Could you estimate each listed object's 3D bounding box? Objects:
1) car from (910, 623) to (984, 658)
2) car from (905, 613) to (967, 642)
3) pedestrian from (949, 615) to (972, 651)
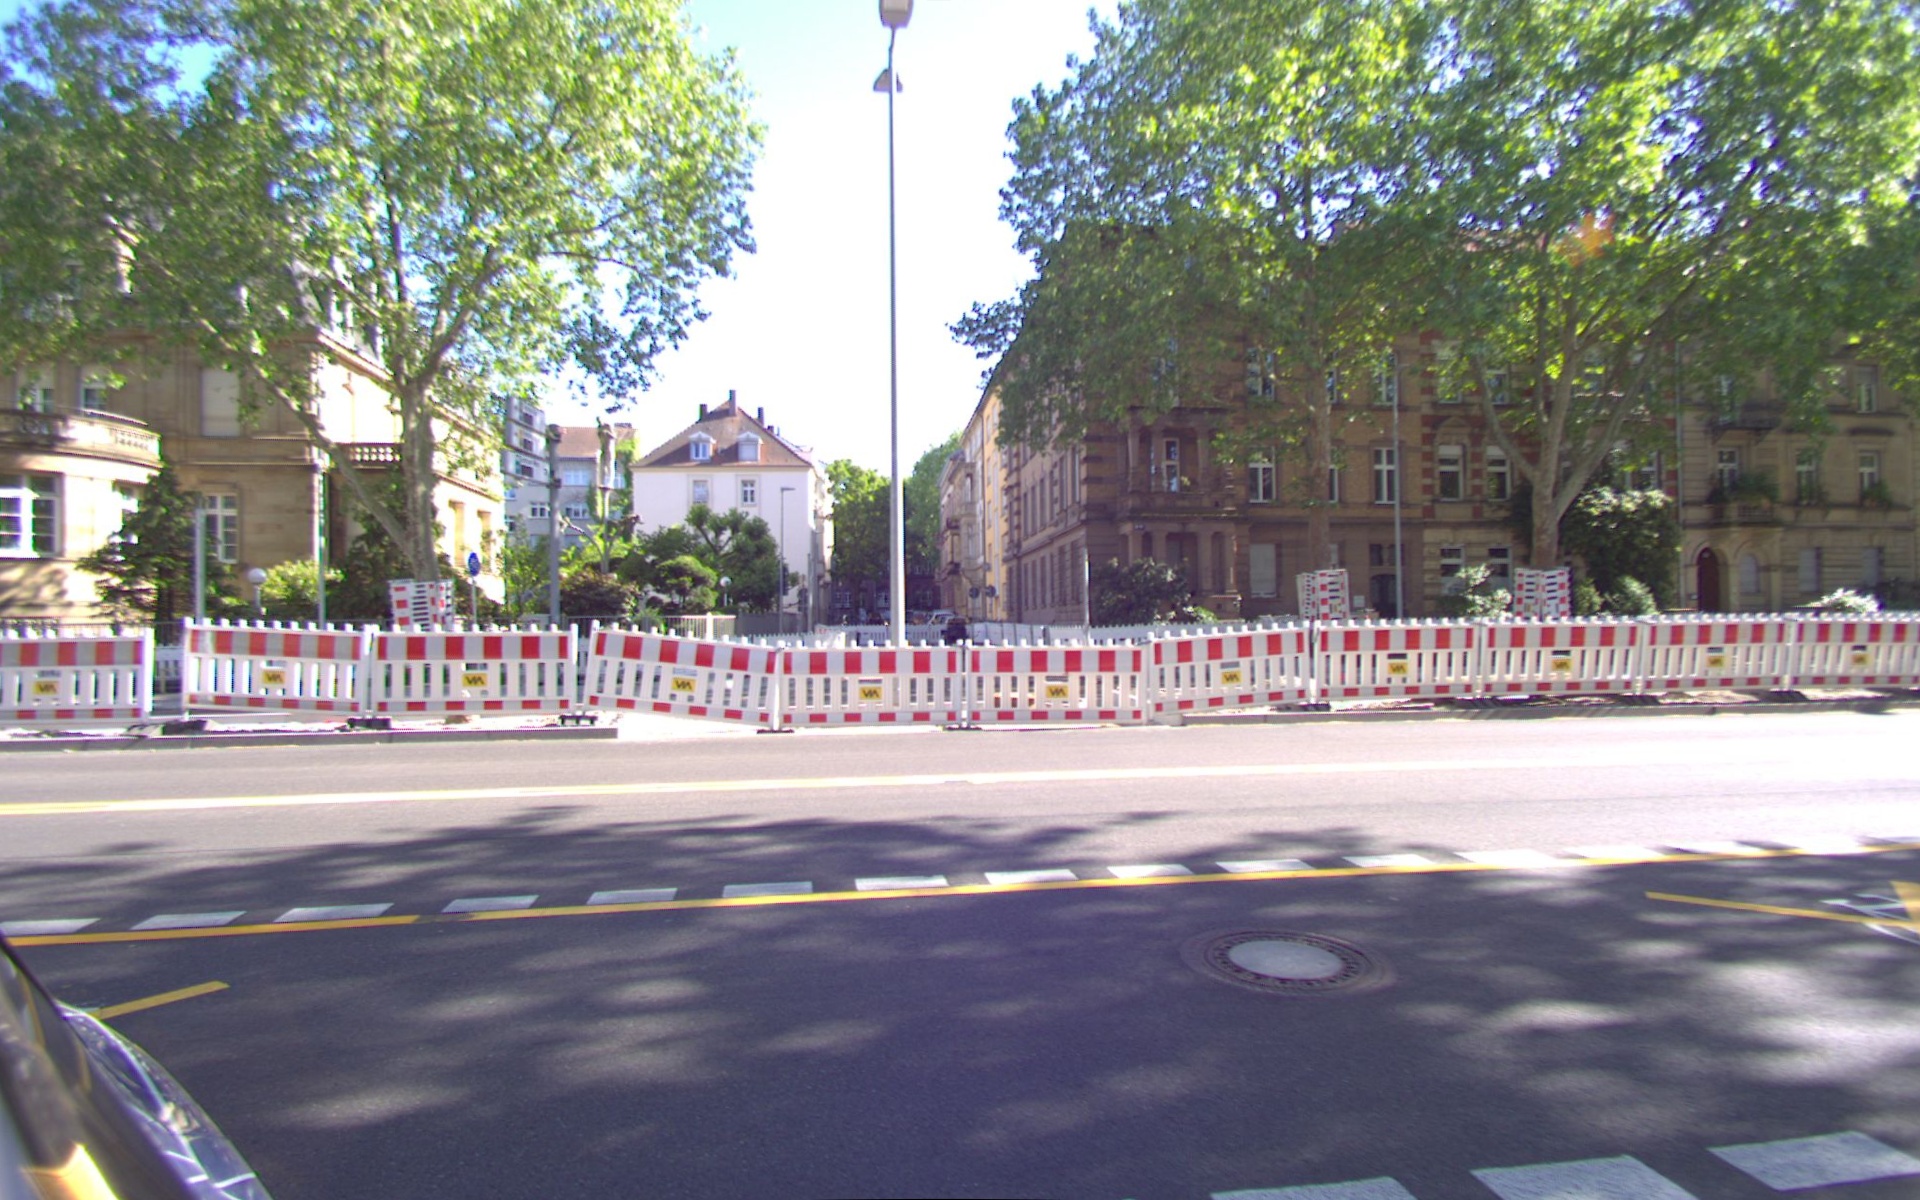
[{"bbox_3d":[-0.725,2.125,53.482,3.745,1.749,1.624,-1,-2,-5],"label":"car"},{"bbox_3d":[-1.545,1.741,63.414,3.745,1.749,1.624,-1,-2,-5],"label":"car"},{"bbox_3d":[0.026,1.560,47.745,0.747,1.673,0.830,0,-2,-32],"label":"pedestrian"}]
